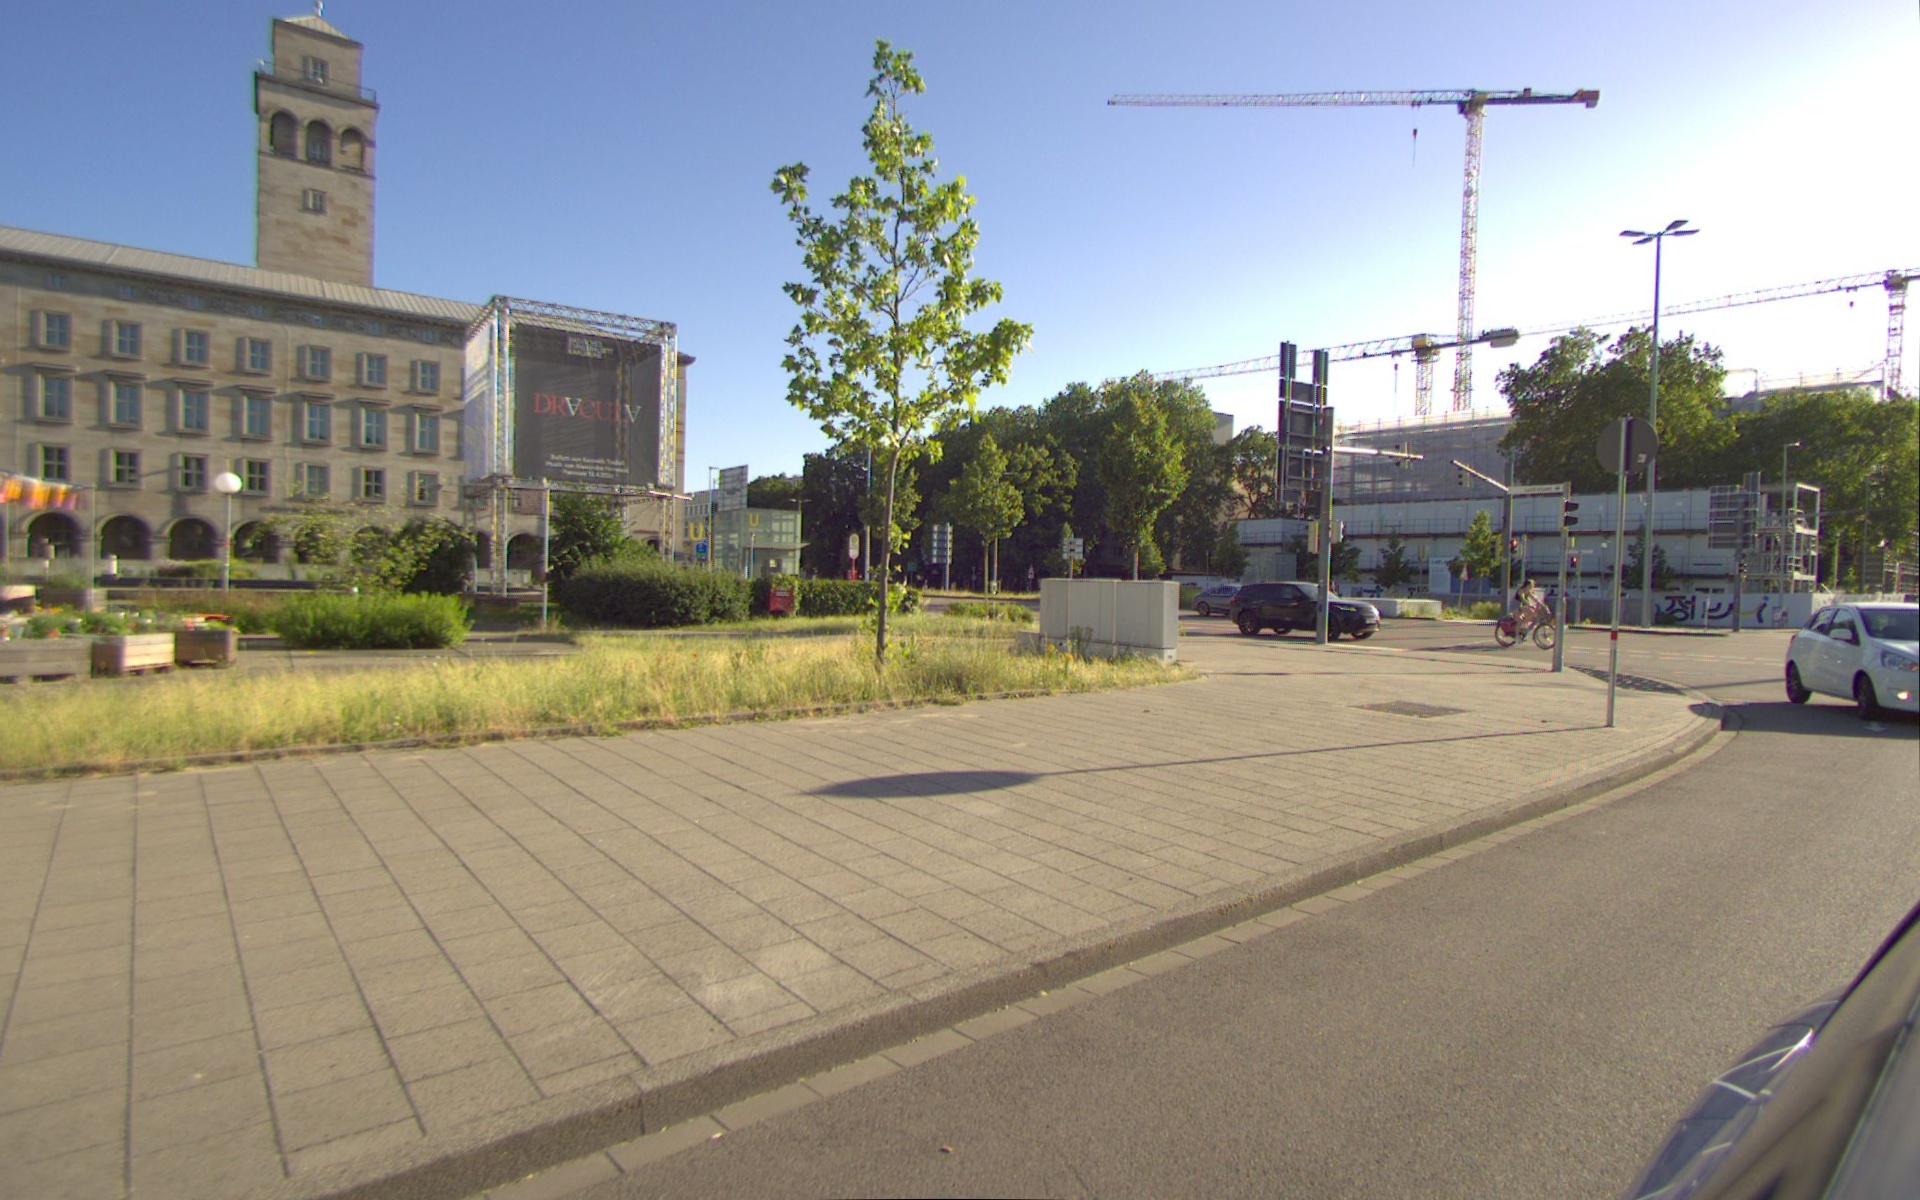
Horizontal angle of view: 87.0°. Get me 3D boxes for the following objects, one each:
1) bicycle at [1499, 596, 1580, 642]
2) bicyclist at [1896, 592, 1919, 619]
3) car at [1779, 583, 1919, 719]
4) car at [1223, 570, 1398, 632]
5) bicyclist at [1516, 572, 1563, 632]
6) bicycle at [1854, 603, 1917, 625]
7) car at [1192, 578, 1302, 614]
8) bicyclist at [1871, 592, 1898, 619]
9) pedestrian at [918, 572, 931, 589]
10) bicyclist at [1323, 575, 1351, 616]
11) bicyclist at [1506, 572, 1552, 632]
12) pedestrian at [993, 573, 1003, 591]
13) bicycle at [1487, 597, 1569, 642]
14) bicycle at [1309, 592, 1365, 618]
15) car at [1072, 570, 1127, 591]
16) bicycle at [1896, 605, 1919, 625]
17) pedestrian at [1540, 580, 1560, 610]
[{"bbox_3d":[15.714,0.494,27.479,0.613,1.130,1.817,1,1,-33],"label":"bicycle"},{"bbox_3d":[45.828,0.254,48.926,0.803,1.314,0.764,1,1,44],"label":"bicyclist"},{"bbox_3d":[12.594,0.574,13.454,1.643,1.489,3.938,1,3,24],"label":"car"},{"bbox_3d":[10.522,-0.032,30.744,1.962,1.683,4.794,0,2,-34],"label":"car"},{"bbox_3d":[15.735,0.035,27.468,0.613,1.594,0.895,1,1,-33],"label":"bicyclist"},{"bbox_3d":[43.666,0.658,47.784,0.788,0.939,2.082,0,1,-17],"label":"bicycle"},{"bbox_3d":[12.257,-0.202,43.527,1.742,1.368,4.530,-1,2,-33],"label":"car"},{"bbox_3d":[43.675,0.252,47.801,0.788,1.286,0.639,0,0,-17],"label":"bicyclist"},{"bbox_3d":[-3.855,-2.079,110.136,0.978,1.804,0.965,-1,3,-33],"label":"pedestrian"},{"bbox_3d":[14.266,-0.185,38.313,0.929,1.522,0.619,1,2,28],"label":"bicyclist"},{"bbox_3d":[15.161,0.053,26.964,0.639,1.562,0.848,1,1,-34],"label":"bicyclist"},{"bbox_3d":[3.683,-1.738,98.217,0.652,1.748,0.698,1,1,-34],"label":"pedestrian"},{"bbox_3d":[15.125,0.509,26.985,0.639,1.107,1.801,1,1,-33],"label":"bicycle"},{"bbox_3d":[14.267,0.170,38.312,1.893,0.920,0.619,1,2,28],"label":"bicycle"},{"bbox_3d":[13.815,-1.921,99.864,5.223,1.915,2.003,0,1,-29],"label":"car"},{"bbox_3d":[45.817,0.711,48.923,0.803,0.939,2.044,1,1,44],"label":"bicycle"},{"bbox_3d":[33.980,-0.277,58.307,0.824,1.701,0.655,1,1,-34],"label":"pedestrian"}]
